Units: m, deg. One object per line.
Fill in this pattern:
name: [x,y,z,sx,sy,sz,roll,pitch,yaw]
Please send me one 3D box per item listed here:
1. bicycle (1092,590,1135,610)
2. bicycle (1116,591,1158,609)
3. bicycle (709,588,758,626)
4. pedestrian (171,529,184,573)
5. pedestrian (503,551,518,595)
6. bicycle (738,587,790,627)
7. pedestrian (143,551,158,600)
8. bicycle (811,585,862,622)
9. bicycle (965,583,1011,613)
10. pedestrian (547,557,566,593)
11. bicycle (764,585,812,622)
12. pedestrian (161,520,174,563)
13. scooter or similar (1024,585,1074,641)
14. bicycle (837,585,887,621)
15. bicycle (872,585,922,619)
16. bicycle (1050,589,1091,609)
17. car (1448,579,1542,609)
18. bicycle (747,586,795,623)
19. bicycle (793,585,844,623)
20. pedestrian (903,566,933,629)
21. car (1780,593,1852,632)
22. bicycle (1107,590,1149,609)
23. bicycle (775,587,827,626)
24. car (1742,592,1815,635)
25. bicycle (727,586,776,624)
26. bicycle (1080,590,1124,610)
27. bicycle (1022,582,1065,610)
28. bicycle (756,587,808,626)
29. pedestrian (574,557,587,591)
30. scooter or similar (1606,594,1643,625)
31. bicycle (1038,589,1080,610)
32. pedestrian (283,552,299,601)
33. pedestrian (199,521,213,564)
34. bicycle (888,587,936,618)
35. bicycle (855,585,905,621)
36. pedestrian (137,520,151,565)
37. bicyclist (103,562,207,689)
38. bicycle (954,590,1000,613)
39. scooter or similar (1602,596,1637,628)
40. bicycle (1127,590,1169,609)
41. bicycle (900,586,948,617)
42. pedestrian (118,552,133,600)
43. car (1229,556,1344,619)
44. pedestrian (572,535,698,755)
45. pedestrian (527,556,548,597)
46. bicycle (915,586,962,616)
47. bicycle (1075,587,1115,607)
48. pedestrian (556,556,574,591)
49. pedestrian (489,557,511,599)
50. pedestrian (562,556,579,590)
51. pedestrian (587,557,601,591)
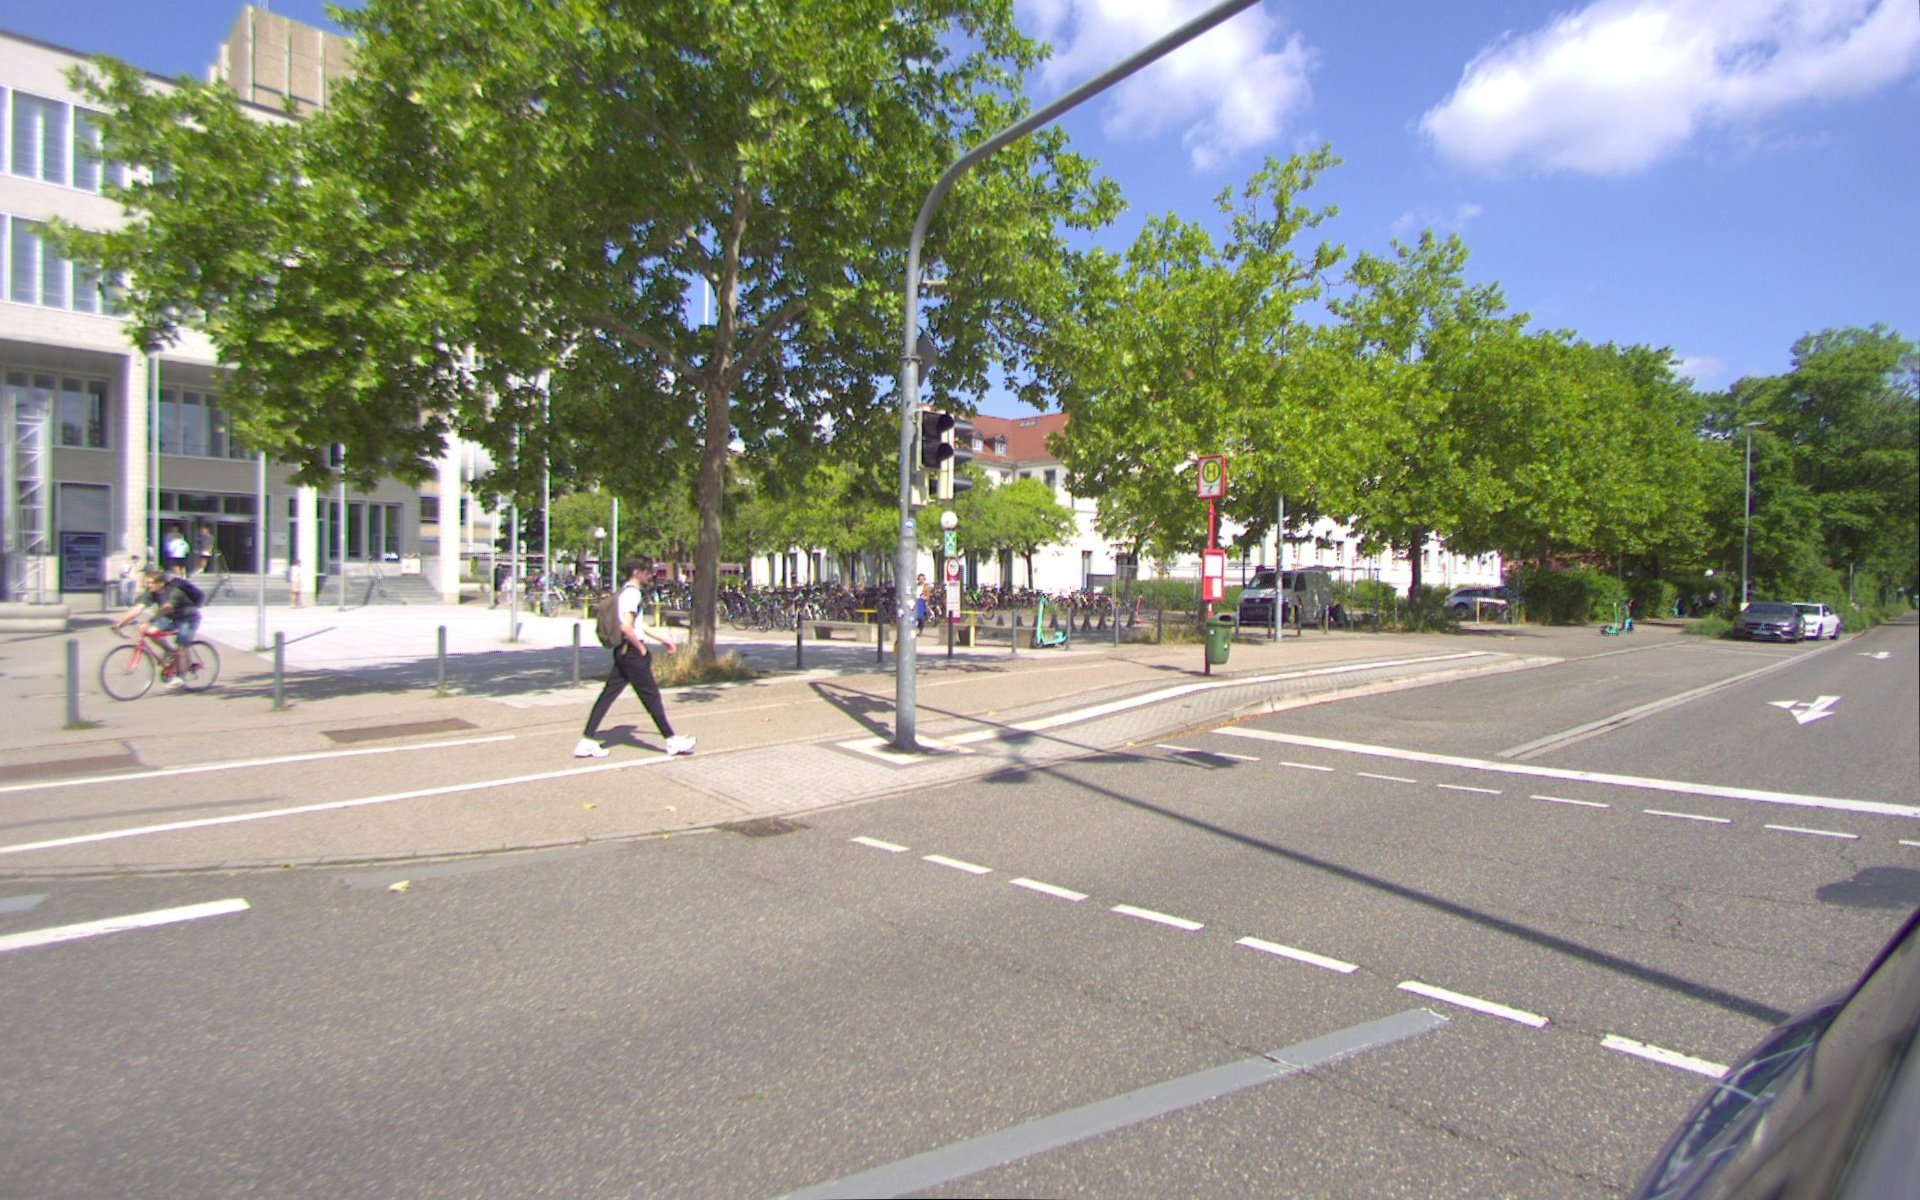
bicycle: [6.249,-0.008,41.214,1.666,0.743,0.617,2,1,42]
bicycle: [7.445,-0.006,42.521,1.666,0.743,0.617,2,1,42]
bicycle: [-6.950,0.187,31.024,1.666,1.110,0.617,2,1,42]
pedestrian: [-29.972,-1.870,38.772,0.379,1.669,0.404,0,1,-40]
pedestrian: [-19.354,-1.166,43.587,0.503,1.870,0.535,0,1,-12]
bicycle: [-5.738,0.195,29.572,1.666,1.110,0.617,2,1,42]
pedestrian: [-28.135,-0.844,35.173,0.397,1.669,0.385,0,1,-42]
bicycle: [-3.860,0.102,31.581,1.666,1.110,0.617,2,1,42]
bicycle: [1.001,-0.073,36.705,1.666,1.041,0.617,2,1,42]
pedestrian: [-20.834,-1.302,52.275,0.690,1.871,0.635,1,1,35]
bicycle: [-5.562,0.099,32.629,1.666,1.110,0.617,2,1,42]
pedestrian: [-31.058,-2.277,39.648,0.379,1.669,0.403,0,1,-43]
scooter or similar: [1.873,0.253,21.190,1.148,1.143,0.347,0,1,-43]
bicycle: [-3.129,0.086,32.337,1.666,1.110,0.617,2,1,42]
bicycle: [-2.080,0.058,33.294,1.666,1.048,0.617,2,1,42]
bicycle: [4.607,-0.036,42.318,1.665,0.800,0.618,2,1,40]
car: [27.008,-0.328,51.155,3.979,1.442,1.734,2,1,38]
bicycle: [-6.007,0.125,32.101,1.666,1.110,0.617,2,1,42]
bicycle: [-4.340,0.109,31.048,1.666,1.110,0.617,2,1,42]
pedestrian: [-1.135,-0.069,27.446,0.630,1.670,0.739,1,1,13]
car: [33.661,0.462,39.751,3.931,1.359,1.559,0,4,-42]
bicycle: [6.949,-0.018,41.852,1.666,0.743,0.617,2,1,42]
bicycle: [-4.807,0.173,30.519,1.666,1.110,0.617,2,1,42]
car: [29.440,0.453,36.360,1.704,1.345,3.938,5,4,43]
bicycle: [-6.516,0.146,31.575,1.666,1.110,0.617,2,1,42]
bicycle: [5.656,0.005,40.439,1.666,0.743,0.617,2,1,42]
bicycle: [3.318,-0.166,40.465,1.666,1.110,0.617,2,1,42]
bicycle: [-5.307,0.188,30.059,1.666,1.110,0.617,2,1,42]
pedestrian: [-21.099,-1.445,56.243,0.500,1.871,0.491,1,1,42]
scooter or similar: [23.987,0.326,36.539,1.342,1.084,0.519,0,1,-29]
bicycle: [4.088,-0.028,41.780,1.665,0.800,0.618,2,1,40]
pedestrian: [-25.013,-0.865,37.839,0.476,1.830,0.441,0,1,-35]
pedestrian: [-29.673,-2.246,39.834,0.398,1.669,0.385,0,1,-43]
bicycle: [-1.620,0.069,33.884,1.666,0.997,0.617,2,1,42]
bicycle: [-2.591,0.083,32.755,1.666,1.110,0.617,2,1,42]
pedestrian: [-31.040,-2.178,38.506,0.397,1.669,0.386,0,1,-35]
bicyclist: [-10.069,0.302,12.689,0.600,1.526,0.919,1,1,-2]
bicycle: [0.596,0.045,36.114,1.666,0.800,0.617,2,1,42]
scooter or similar: [22.630,0.405,34.736,1.414,1.091,0.518,0,1,-36]
bicycle: [7.984,-0.025,43.072,1.666,0.743,0.617,2,1,42]
bicycle: [-1.216,0.046,34.426,1.666,0.984,0.617,2,1,42]
pedestrian: [-29.225,-0.840,35.436,0.397,1.669,0.385,0,1,-42]
car: [11.403,-0.437,35.142,1.993,2.039,4.828,2,1,42]
pedestrian: [-2.920,0.365,9.060,0.923,1.847,0.703,0,4,-29]
pedestrian: [-19.671,-1.098,47.162,0.690,1.871,0.635,1,1,35]
bicycle: [-0.757,0.035,34.925,1.666,0.977,0.617,2,1,42]
bicycle: [5.786,-0.126,43.408,1.666,0.800,0.617,2,1,42]
pedestrian: [-21.086,-1.416,54.023,0.690,1.871,0.635,1,1,35]
pedestrian: [-20.537,-0.976,45.162,0.787,1.871,0.696,1,1,-17]
pedestrian: [-21.441,-1.466,55.717,0.692,1.871,0.634,1,1,42]
pedestrian: [-20.408,-1.432,56.370,0.549,1.871,0.521,1,1,42]
